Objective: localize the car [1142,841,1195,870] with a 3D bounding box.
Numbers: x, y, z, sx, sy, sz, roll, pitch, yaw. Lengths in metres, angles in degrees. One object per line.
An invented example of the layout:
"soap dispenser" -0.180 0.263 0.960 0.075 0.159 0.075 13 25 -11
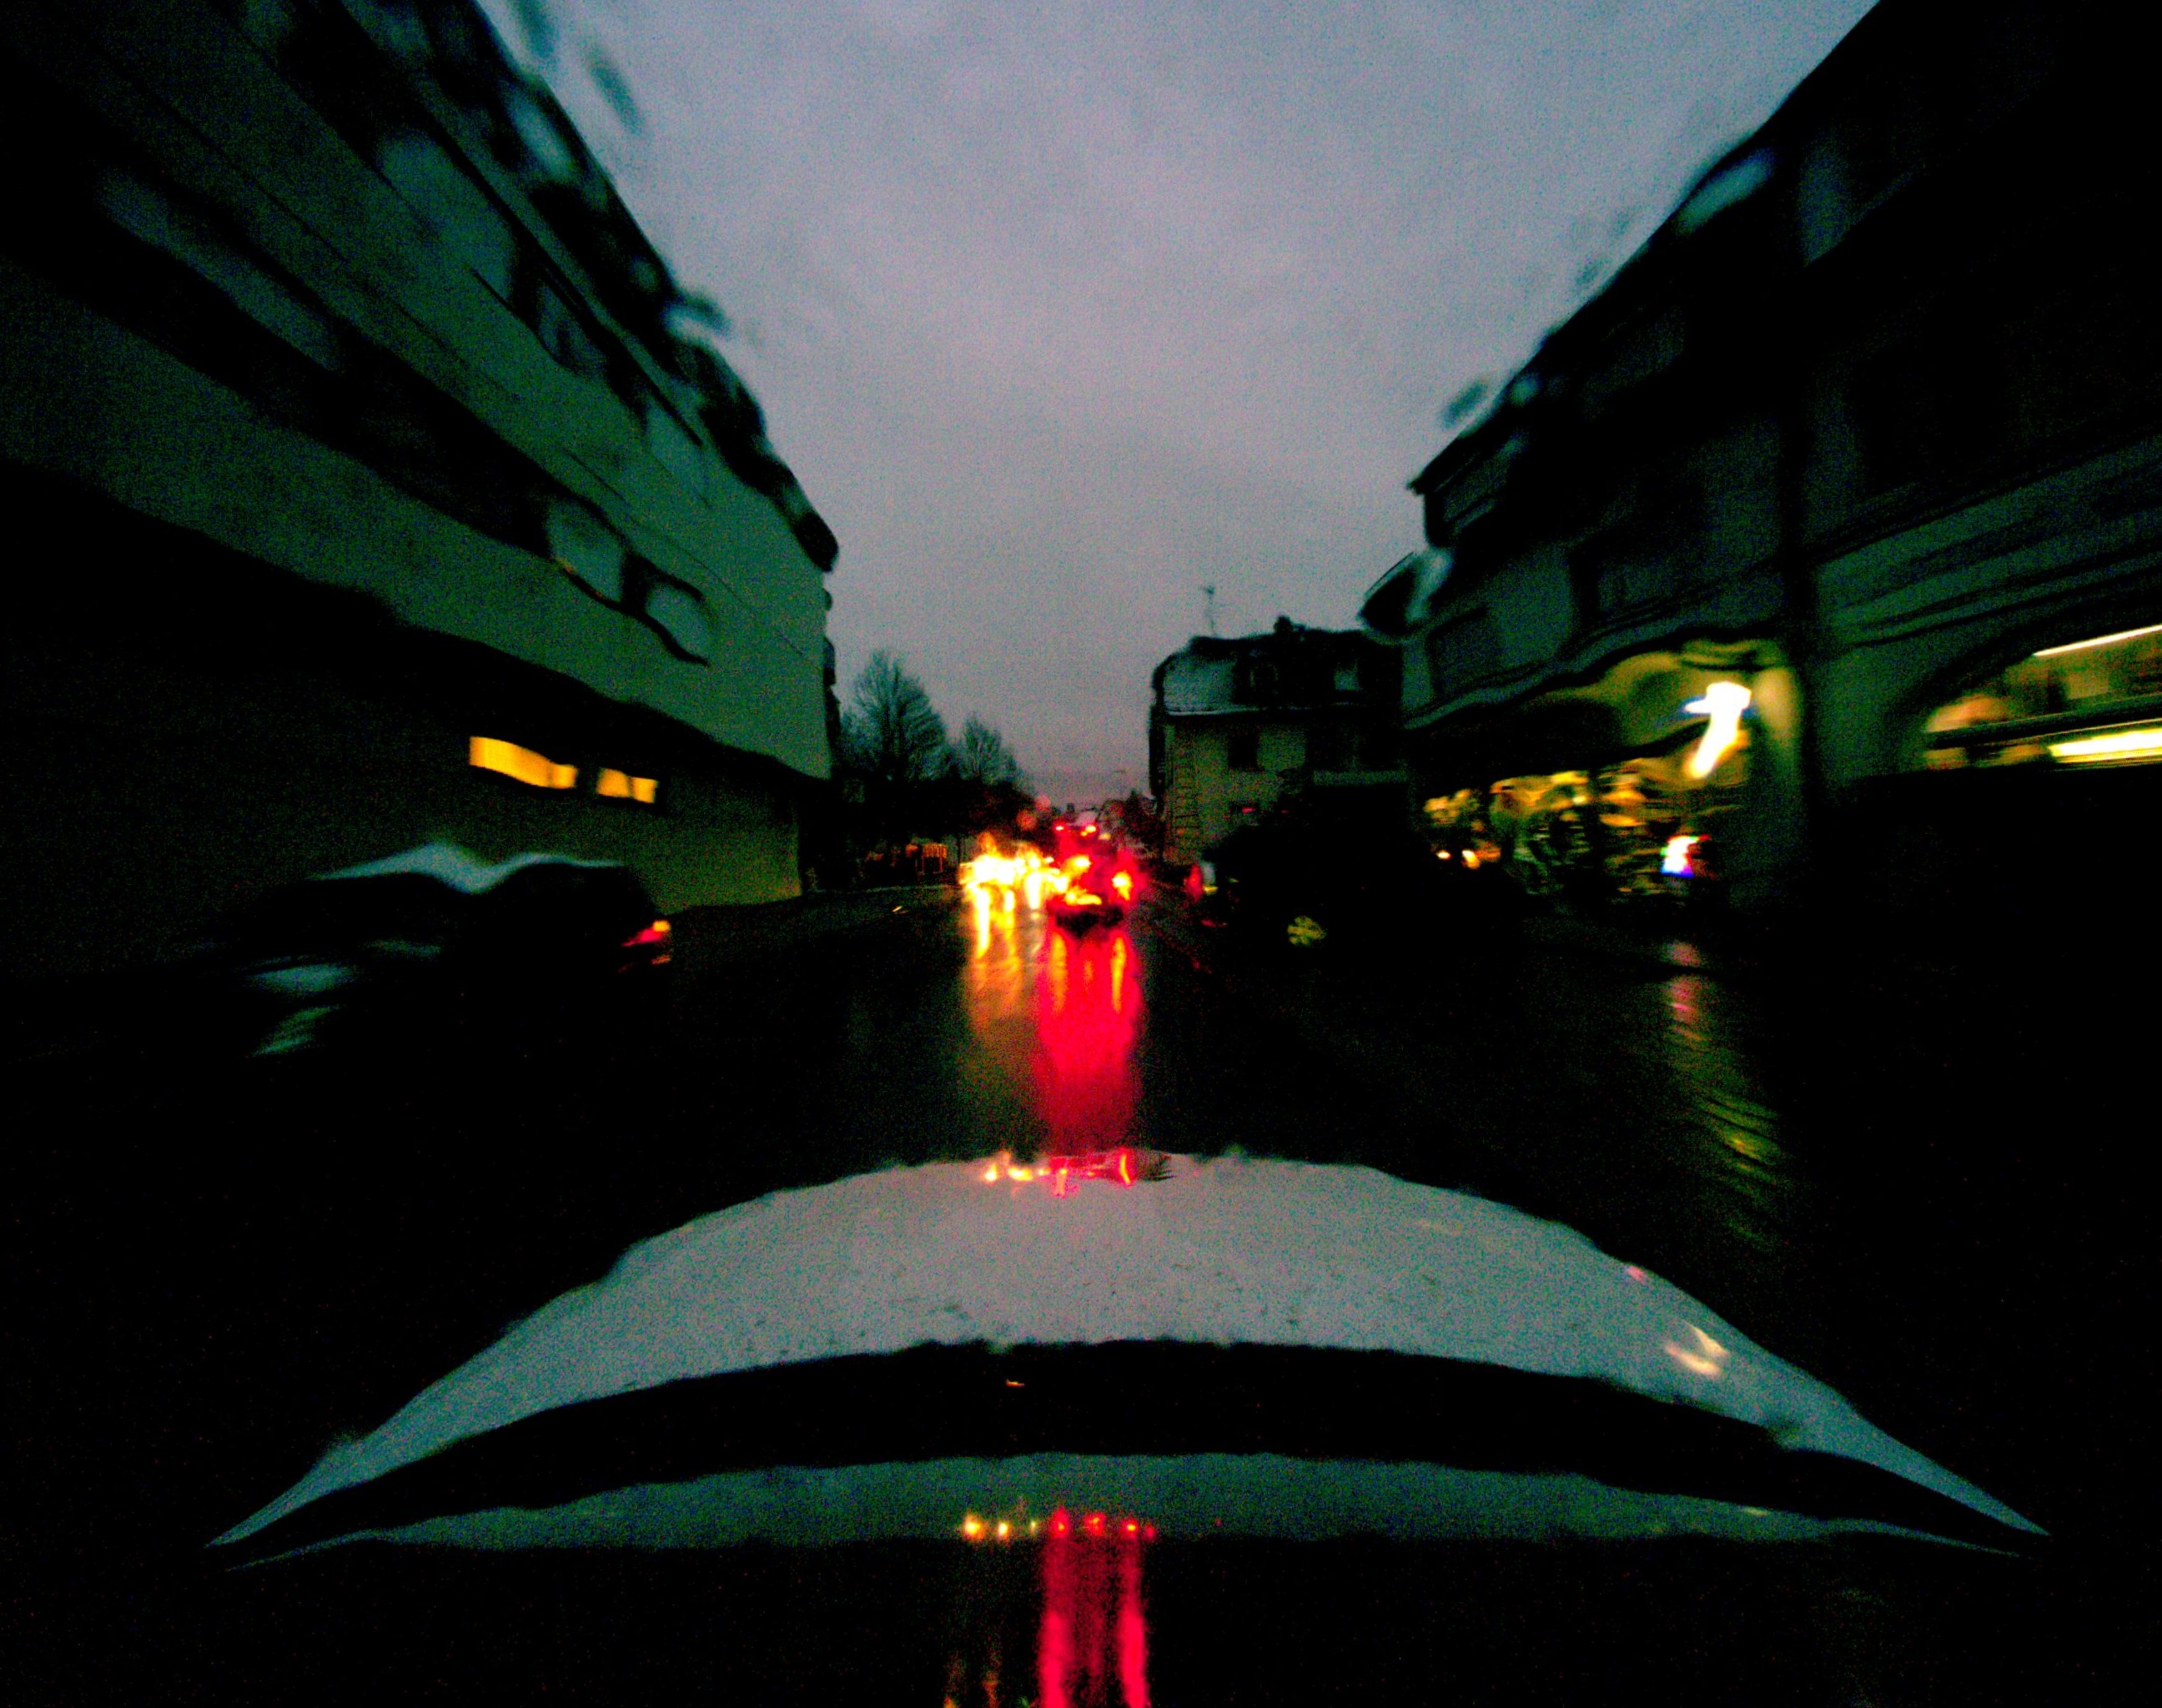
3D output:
"car" 6.886 0.097 64.156 4.076 2.151 1.917 -2 0 6

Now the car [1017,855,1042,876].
"car" -4.171 0.914 66.411 1.805 1.596 4.397 -2 0 -1

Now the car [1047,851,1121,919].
"car" 0.051 0.694 19.843 1.633 1.481 3.377 -1 0 -1

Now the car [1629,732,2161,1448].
"car" 4.164 0.440 2.756 3.500 1.680 1.712 -4 0 -6

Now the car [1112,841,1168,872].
"car" 4.509 0.194 61.799 4.076 2.163 1.916 -2 0 6

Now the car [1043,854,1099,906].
"car" -0.310 0.780 25.743 1.633 1.481 3.270 -1 0 0

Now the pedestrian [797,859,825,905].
"pedestrian" -8.721 0.897 26.288 0.653 1.458 0.643 -1 0 -37

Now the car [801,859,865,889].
"car" -17.587 1.441 57.890 3.954 1.998 1.828 -2 0 18

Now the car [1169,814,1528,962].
"car" 3.790 0.438 12.022 4.597 1.775 1.942 -3 0 -6

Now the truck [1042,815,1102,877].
"truck" -0.635 -0.435 46.135 3.009 3.128 7.991 -1 0 -3

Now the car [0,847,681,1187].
"car" -4.739 0.795 5.916 1.789 1.642 3.811 -1 0 -1

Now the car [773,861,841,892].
"car" -18.490 1.523 54.997 3.954 1.910 1.828 -2 0 18

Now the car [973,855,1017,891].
"car" -3.912 0.828 37.280 1.633 1.535 3.405 -1 0 -1

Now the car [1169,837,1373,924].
"car" 3.980 0.524 17.374 3.865 1.579 1.678 -3 0 -7
